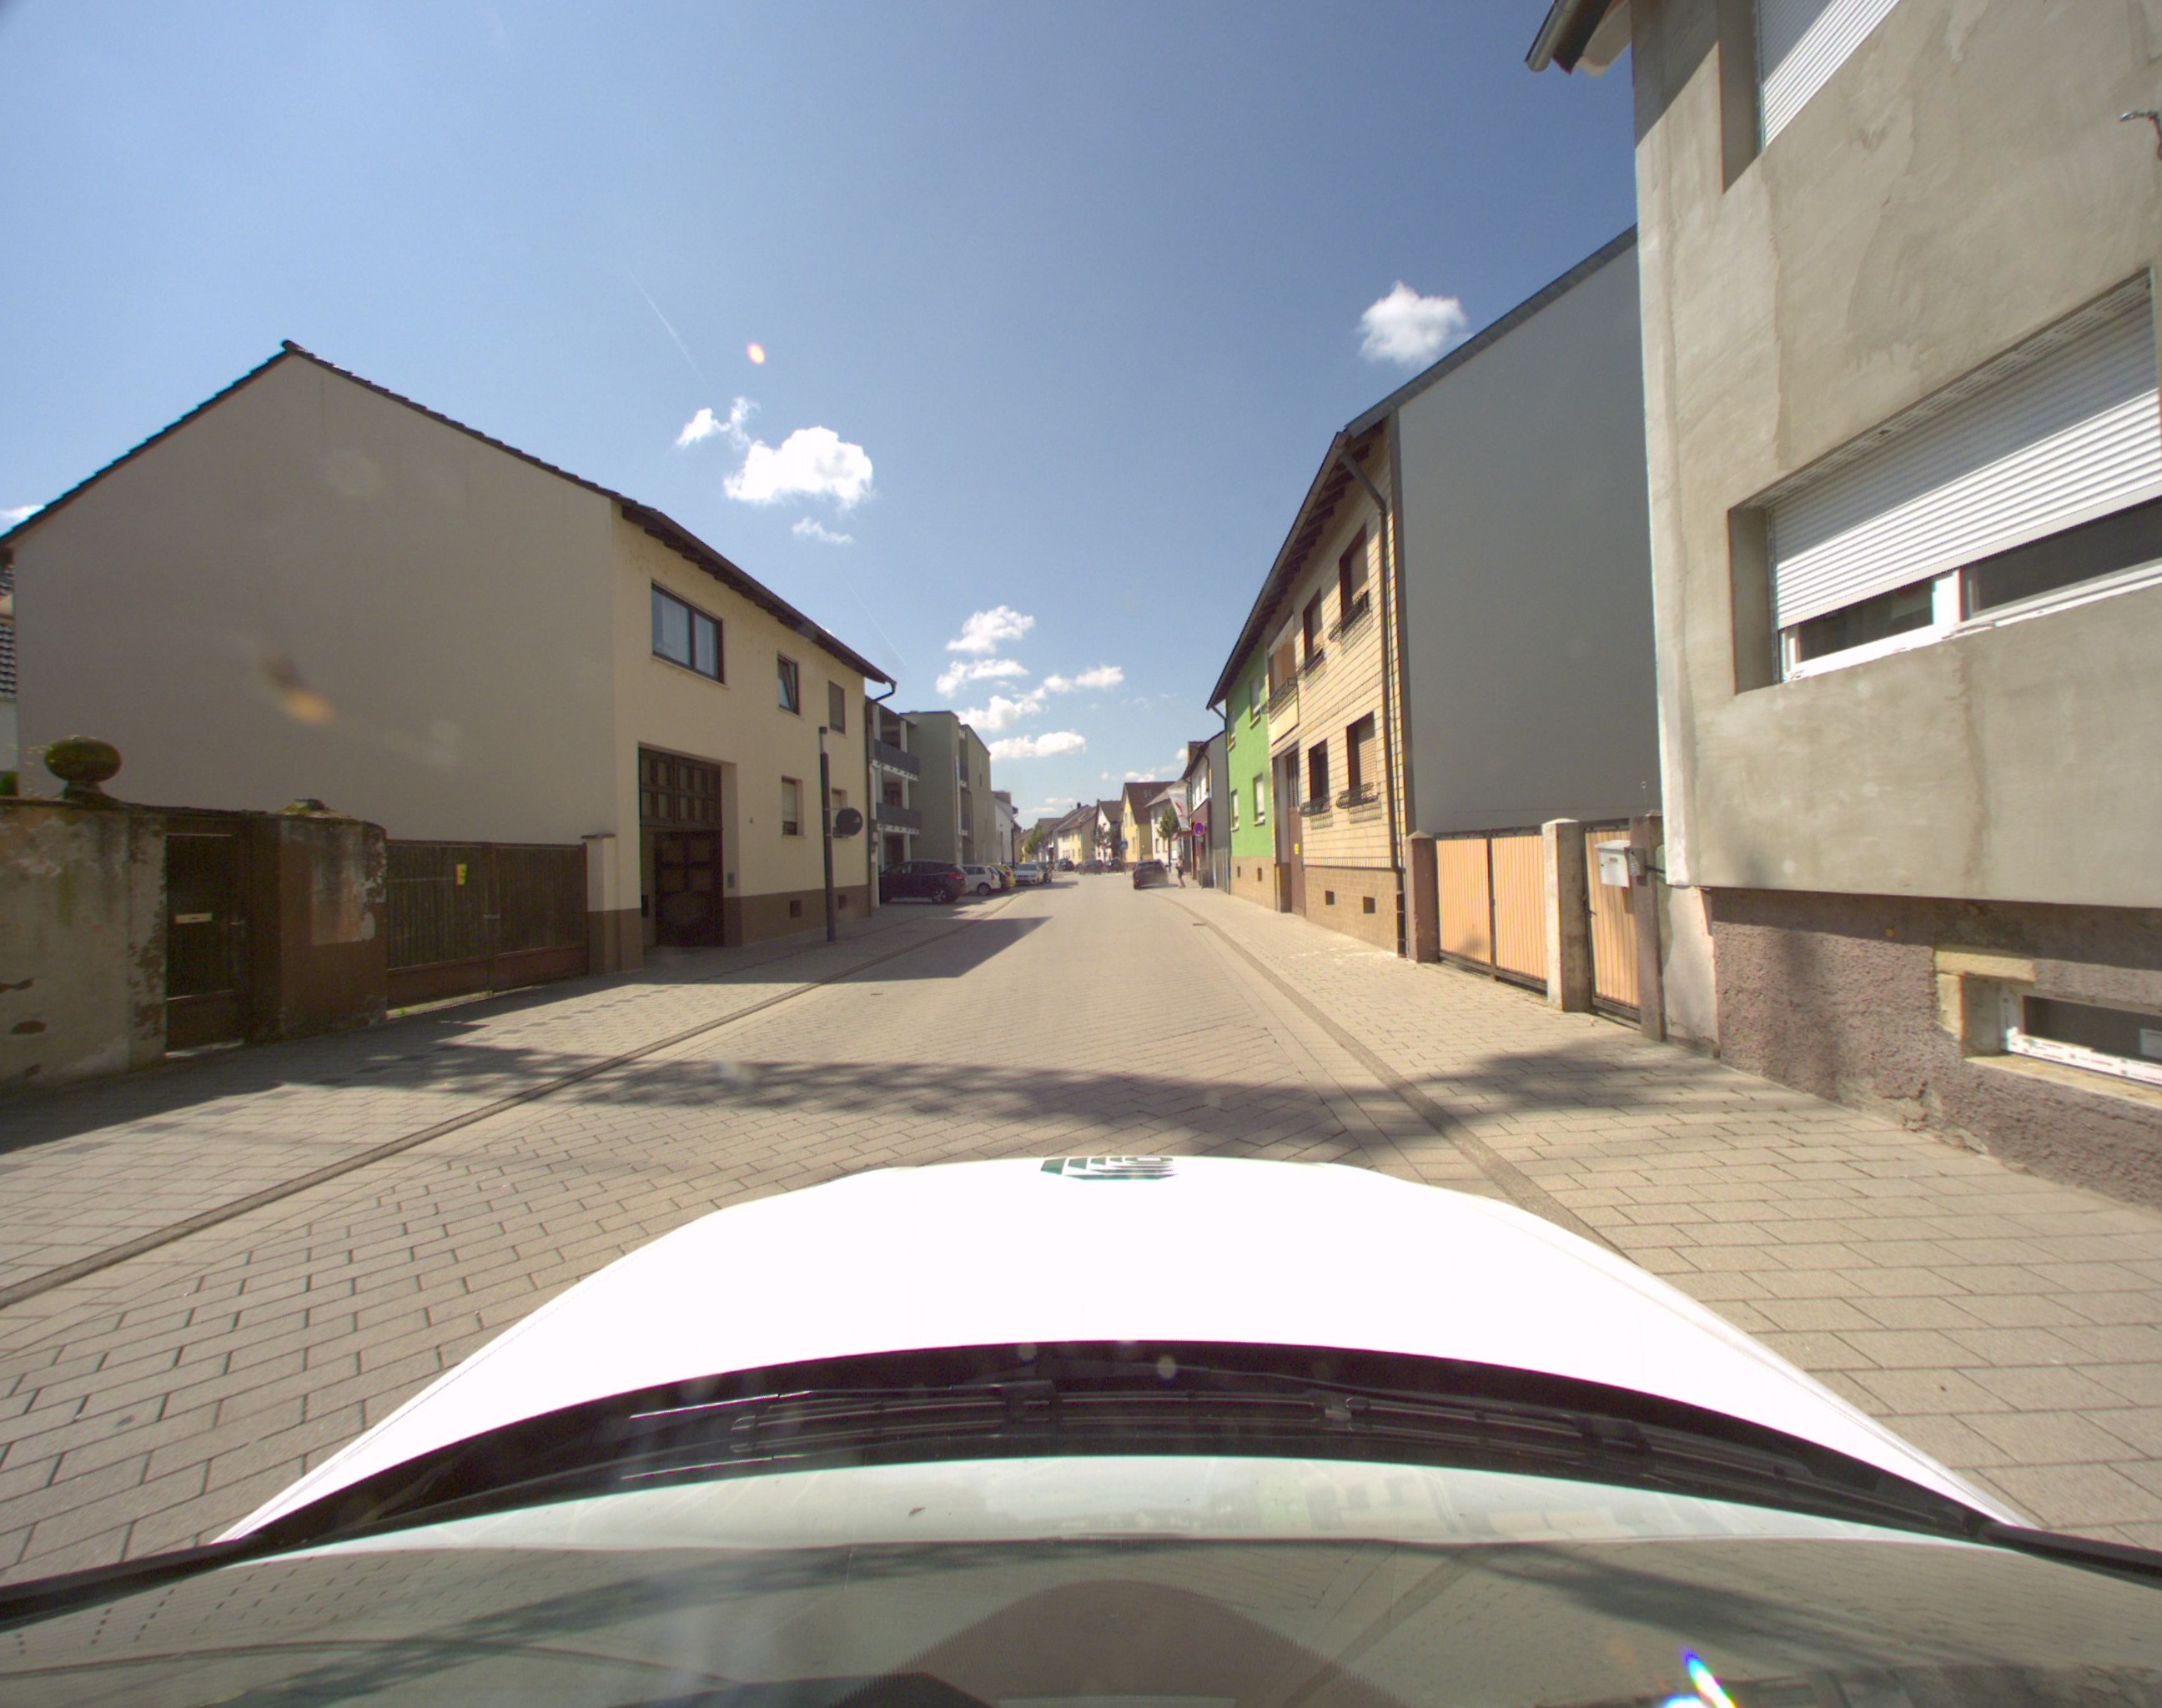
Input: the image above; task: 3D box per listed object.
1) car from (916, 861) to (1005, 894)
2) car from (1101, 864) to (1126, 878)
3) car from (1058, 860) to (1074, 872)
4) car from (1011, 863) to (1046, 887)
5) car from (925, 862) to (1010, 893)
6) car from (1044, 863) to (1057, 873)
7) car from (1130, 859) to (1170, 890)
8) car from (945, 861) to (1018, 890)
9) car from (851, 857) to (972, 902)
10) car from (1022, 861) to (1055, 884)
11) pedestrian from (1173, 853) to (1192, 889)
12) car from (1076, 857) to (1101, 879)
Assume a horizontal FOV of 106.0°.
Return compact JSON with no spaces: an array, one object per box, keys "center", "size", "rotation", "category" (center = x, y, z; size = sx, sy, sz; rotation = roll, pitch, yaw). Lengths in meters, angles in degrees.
[{"center":[-5.769,1.128,39.145],"size":[3.882,1.502,1.753],"rotation":[0,0,4],"category":"car"},{"center":[3.556,1.871,89.970],"size":[1.828,1.471,4.263],"rotation":[-4,-1,-8],"category":"car"},{"center":[-2.229,1.774,120.503],"size":[1.877,1.591,3.988],"rotation":[-2,0,-8],"category":"car"},{"center":[-3.357,1.332,52.327],"size":[1.750,1.411,3.881],"rotation":[0,0,4],"category":"car"},{"center":[-5.705,1.178,41.193],"size":[3.970,1.442,1.692],"rotation":[1,0,3],"category":"car"},{"center":[-5.072,2.306,134.876],"size":[1.753,1.493,3.988],"rotation":[-2,0,-8],"category":"car"},{"center":[3.691,1.034,42.891],"size":[1.848,1.459,4.594],"rotation":[-4,-1,6],"category":"car"},{"center":[-5.370,1.171,44.208],"size":[3.675,1.525,1.674],"rotation":[0,0,4],"category":"car"},{"center":[-6.451,0.964,31.294],"size":[4.202,1.658,1.785],"rotation":[0,0,2],"category":"car"},{"center":[-2.998,1.300,58.085],"size":[1.805,1.490,4.281],"rotation":[0,0,4],"category":"car"},{"center":[4.813,0.797,38.701],"size":[0.726,1.640,0.750],"rotation":[-5,-1,6],"category":"pedestrian"},{"center":[0.704,1.410,82.357],"size":[1.991,2.058,4.364],"rotation":[-2,0,-6],"category":"car"}]
